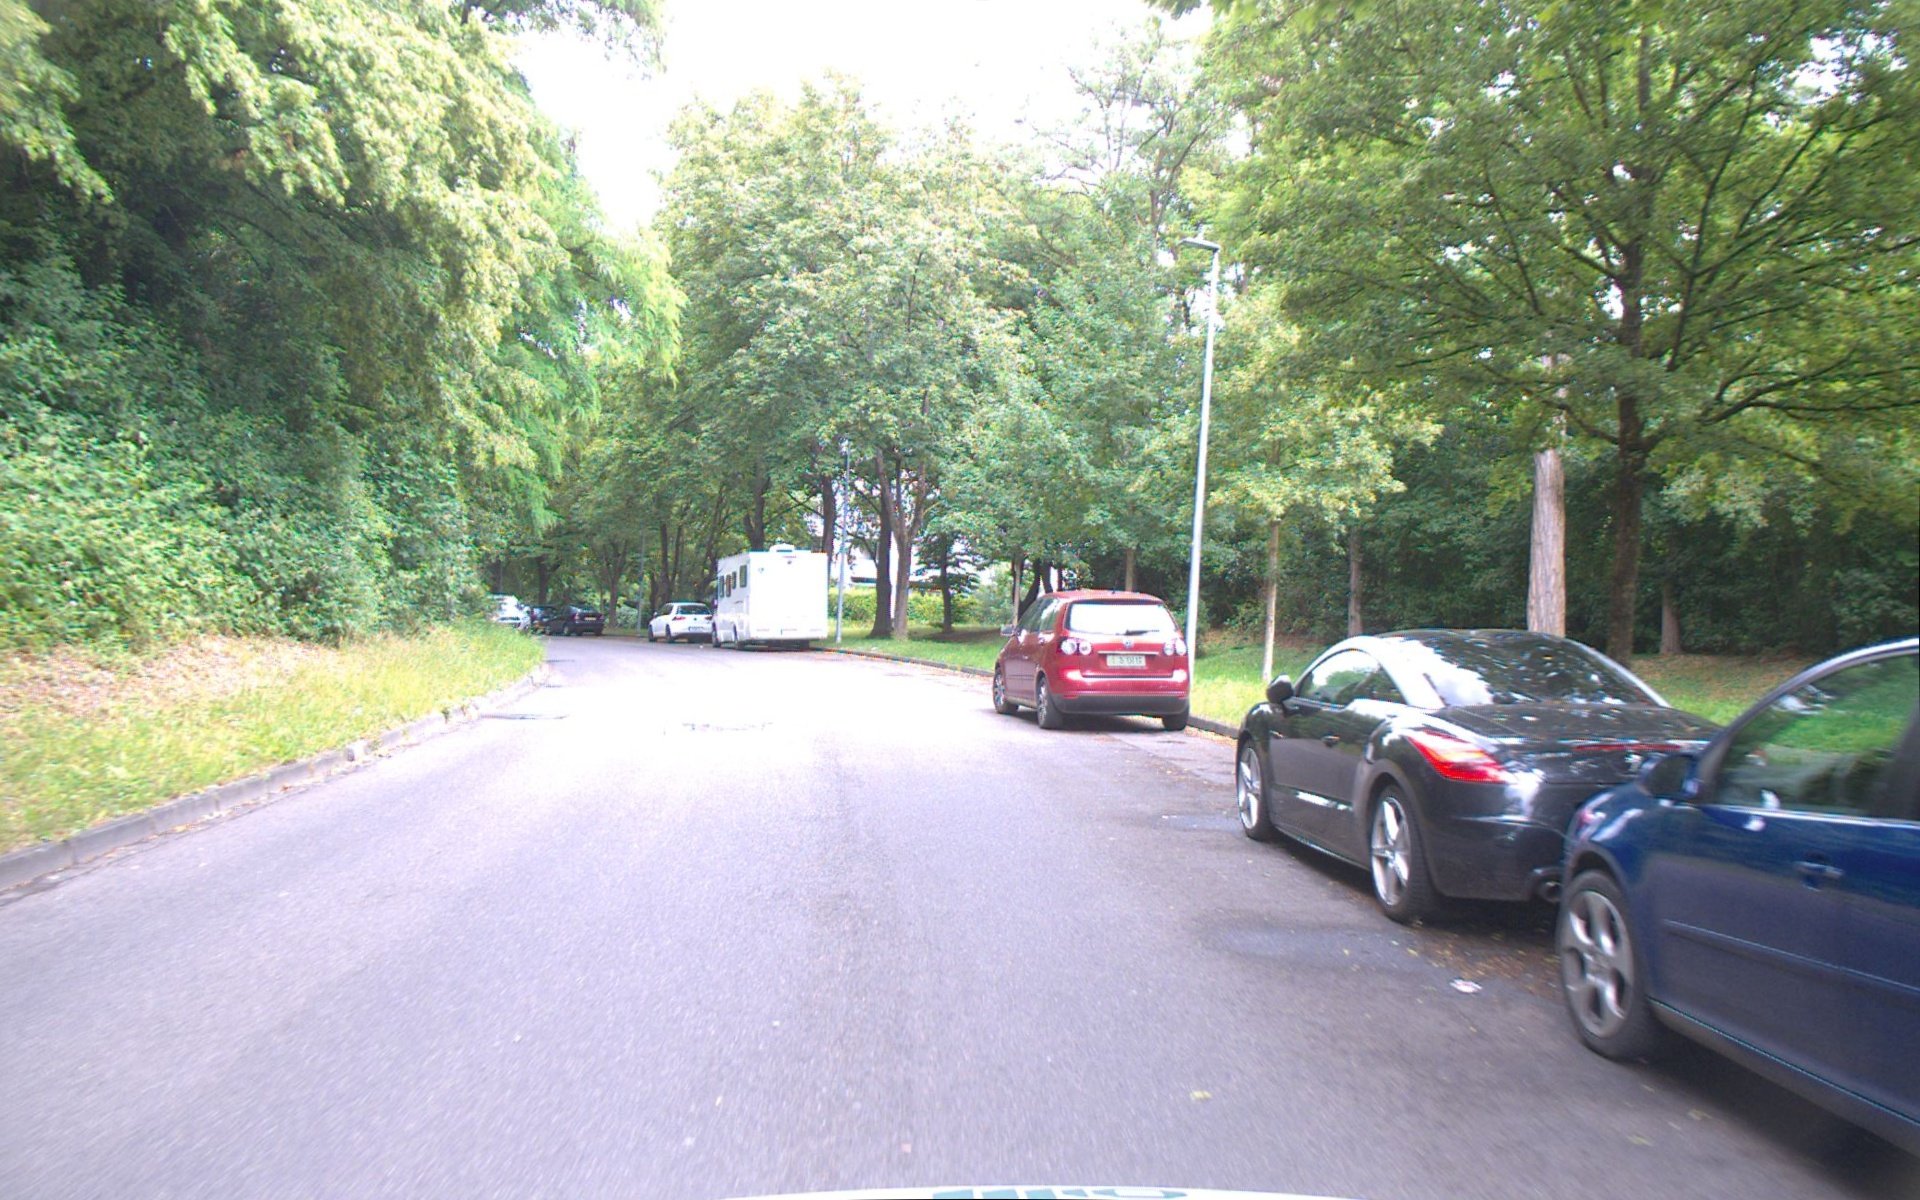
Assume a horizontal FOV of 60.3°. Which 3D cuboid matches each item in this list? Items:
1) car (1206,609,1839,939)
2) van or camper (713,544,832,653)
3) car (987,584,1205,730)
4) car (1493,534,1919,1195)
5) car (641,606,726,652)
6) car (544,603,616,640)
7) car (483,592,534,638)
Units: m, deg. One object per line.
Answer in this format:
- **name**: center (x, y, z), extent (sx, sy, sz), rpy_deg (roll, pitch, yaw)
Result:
- **car**: center (2.760, 0.768, 9.303), extent (1.716, 1.360, 4.411), rpy_deg (2, 0, -5)
- **van or camper**: center (-5.663, -0.054, 49.310), extent (2.393, 3.060, 5.179), rpy_deg (1, 0, -20)
- **car**: center (1.541, 0.648, 20.165), extent (1.706, 1.590, 3.991), rpy_deg (1, -1, -10)
- **car**: center (3.075, 0.663, 4.545), extent (1.680, 1.536, 4.179), rpy_deg (3, -1, -2)
- **car**: center (-10.336, 1.049, 61.633), extent (1.970, 1.498, 3.965), rpy_deg (4, -1, -27)
- **car**: center (-17.599, 0.981, 76.471), extent (1.974, 1.527, 3.956), rpy_deg (4, -1, -32)
- **car**: center (-17.792, 0.565, 65.055), extent (1.828, 1.693, 4.549), rpy_deg (-1, 0, -17)
